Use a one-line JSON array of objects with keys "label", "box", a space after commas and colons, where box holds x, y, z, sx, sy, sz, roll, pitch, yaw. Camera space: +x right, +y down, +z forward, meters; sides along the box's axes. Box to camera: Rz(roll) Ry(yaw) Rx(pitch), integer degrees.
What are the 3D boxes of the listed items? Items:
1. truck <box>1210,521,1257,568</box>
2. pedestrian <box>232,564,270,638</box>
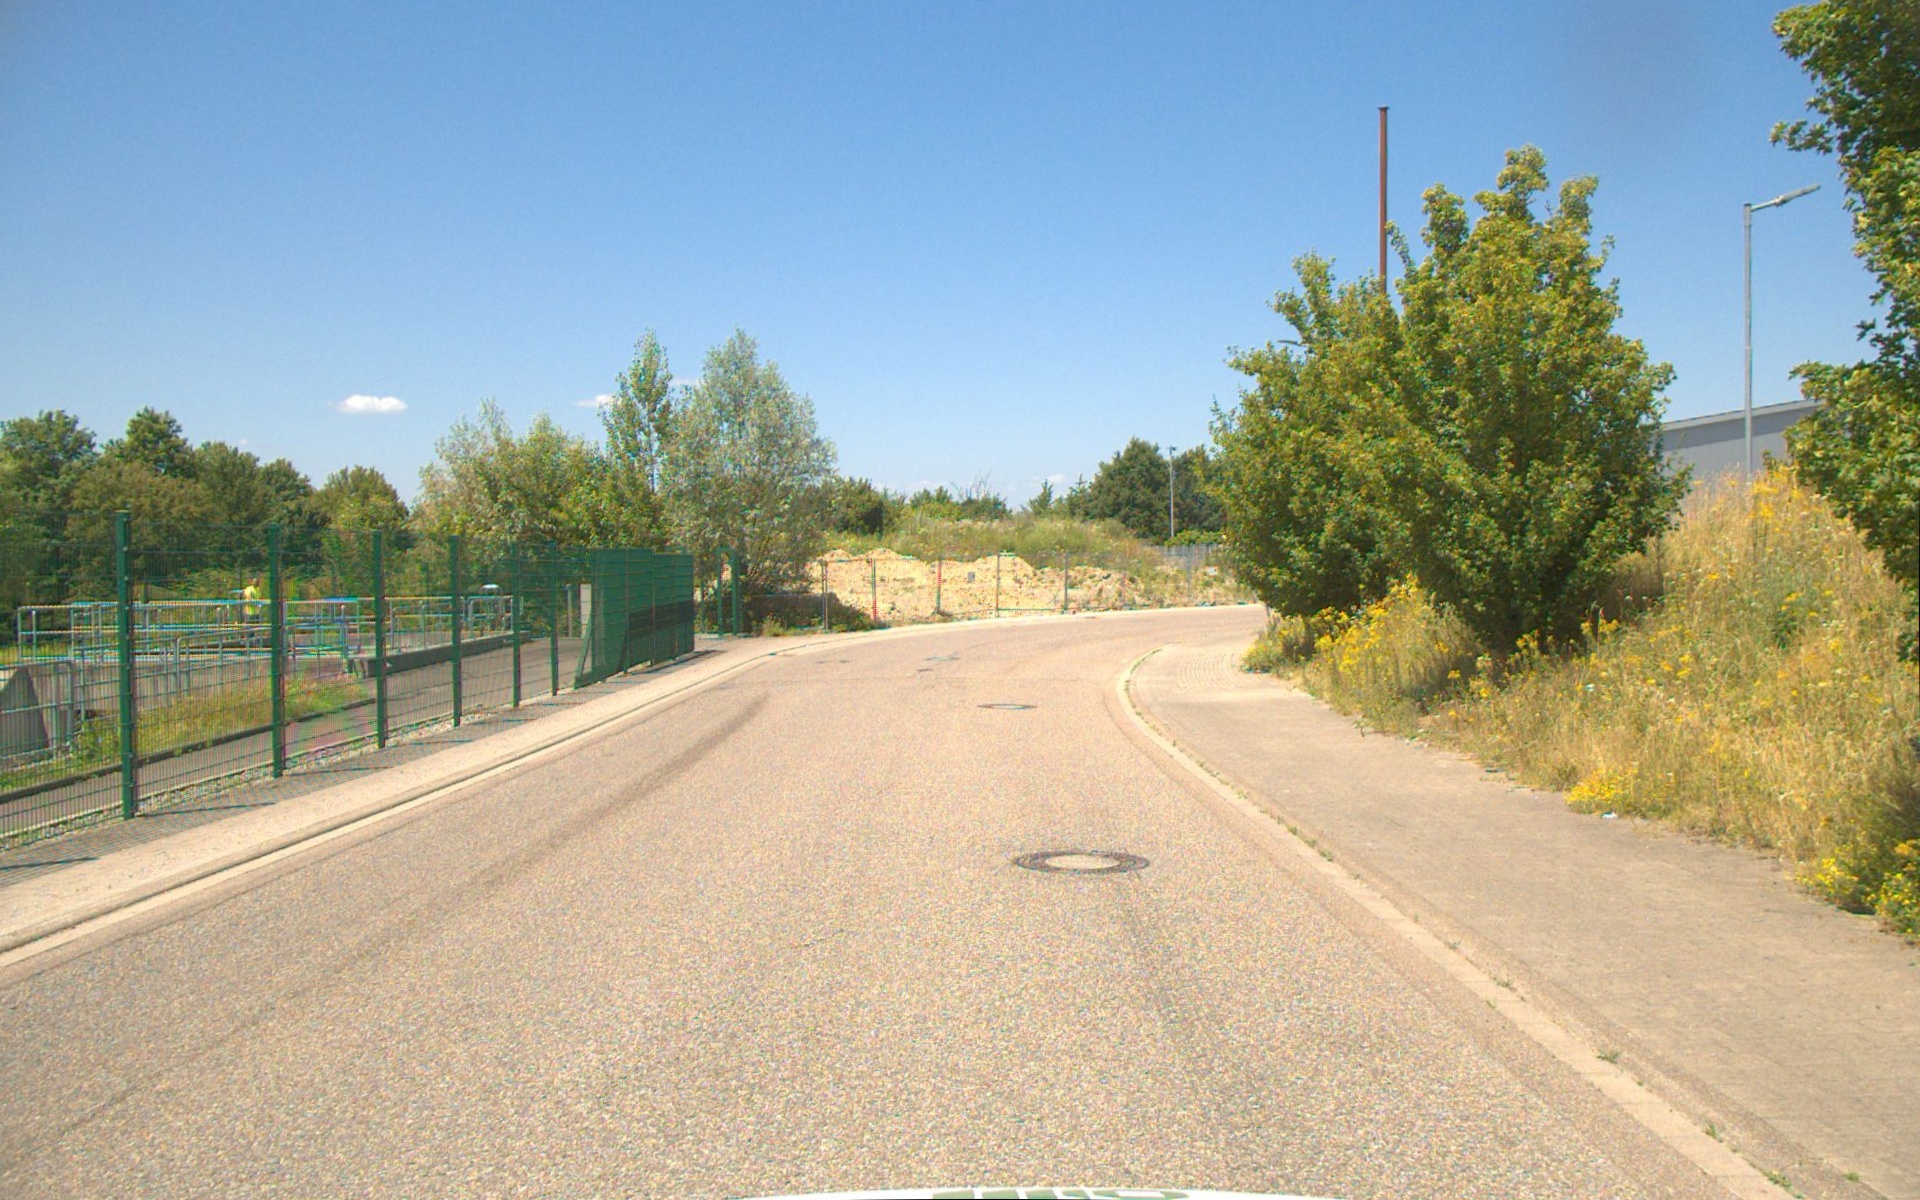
[{"label": "truck", "box": [18.542, -3.728, 112.201, 1.955, 3.036, 4.640, -2, 1, -5]}, {"label": "pedestrian", "box": [-18.281, 0.030, 42.664, 0.593, 1.871, 0.804, -2, 0, -2]}]
